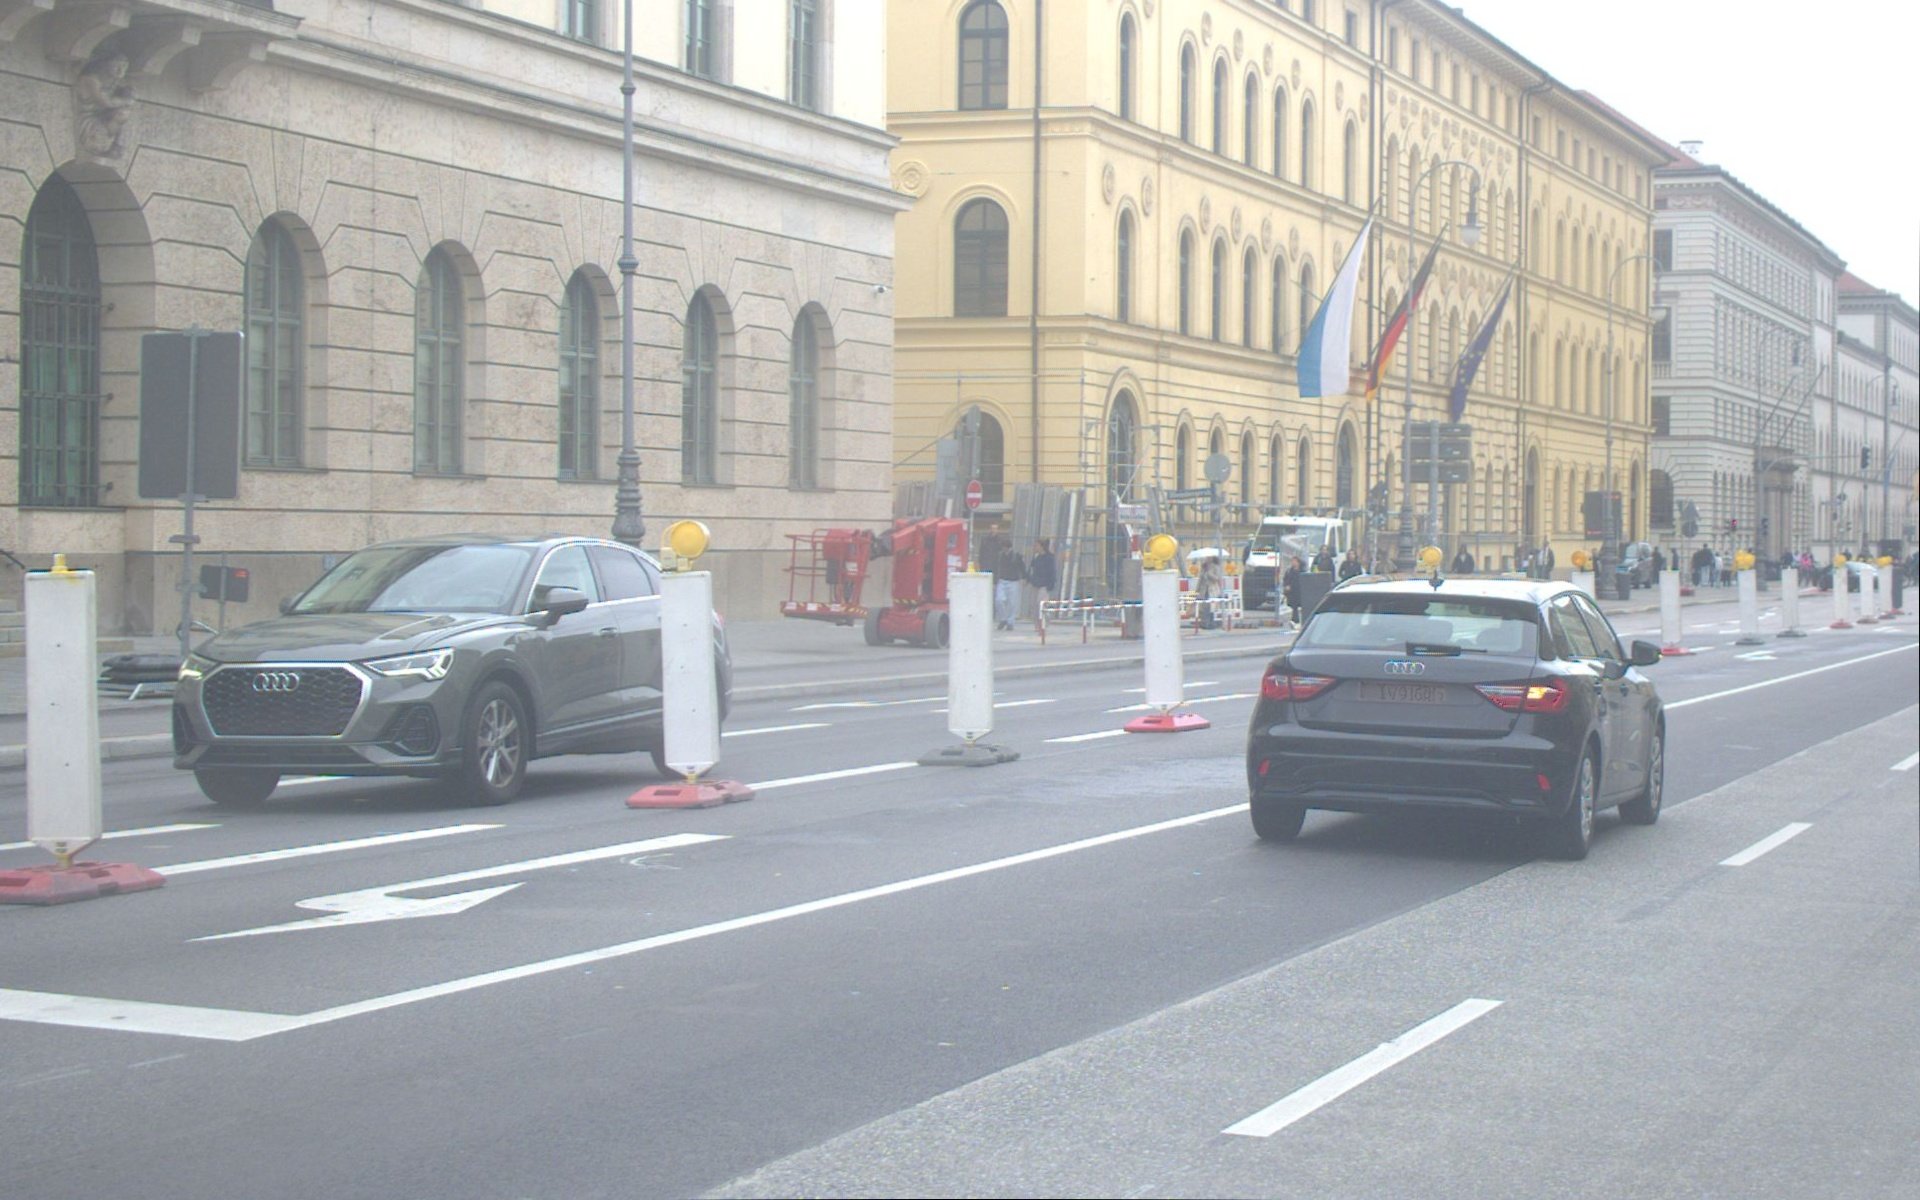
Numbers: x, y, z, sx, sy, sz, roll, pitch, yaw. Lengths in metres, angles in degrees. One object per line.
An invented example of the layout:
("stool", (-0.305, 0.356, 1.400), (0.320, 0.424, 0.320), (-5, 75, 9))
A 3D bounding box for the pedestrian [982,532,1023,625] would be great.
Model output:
("pedestrian", (0.768, -0.386, 62.416), (0.553, 1.670, 0.617), (2, 0, 17))

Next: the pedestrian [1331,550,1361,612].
("pedestrian", (8.915, -0.444, 79.461), (0.540, 1.406, 0.617), (2, 0, 17))

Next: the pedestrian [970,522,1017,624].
("pedestrian", (0.648, -0.509, 65.708), (0.680, 1.925, 0.651), (2, 0, 17))

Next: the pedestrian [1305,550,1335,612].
("pedestrian", (8.350, -0.434, 79.631), (0.540, 1.402, 0.617), (2, 0, 17))

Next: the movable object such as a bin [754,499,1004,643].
("movable object such as a bin", (-1.122, -0.393, 51.426), (1.513, 2.007, 5.969), (2, 0, 21))

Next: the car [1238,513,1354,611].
("car", (8.221, -0.908, 83.818), (1.740, 2.281, 3.995), (2, 0, 21))

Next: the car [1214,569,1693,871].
("car", (2.792, 0.558, 18.682), (1.865, 1.383, 3.996), (2, 1, 18))

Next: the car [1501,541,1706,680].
("car", (8.073, 0.143, 42.871), (1.771, 1.611, 3.995), (2, 0, 21))

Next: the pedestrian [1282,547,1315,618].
("pedestrian", (7.411, -0.375, 75.304), (0.553, 1.525, 0.617), (2, 0, 17))

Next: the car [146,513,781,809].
("car", (-2.800, 0.310, 20.564), (1.787, 1.561, 4.571), (-1, 0, 20))

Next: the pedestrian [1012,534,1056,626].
("pedestrian", (1.343, -0.362, 62.245), (0.612, 1.647, 0.617), (2, 0, 17))
